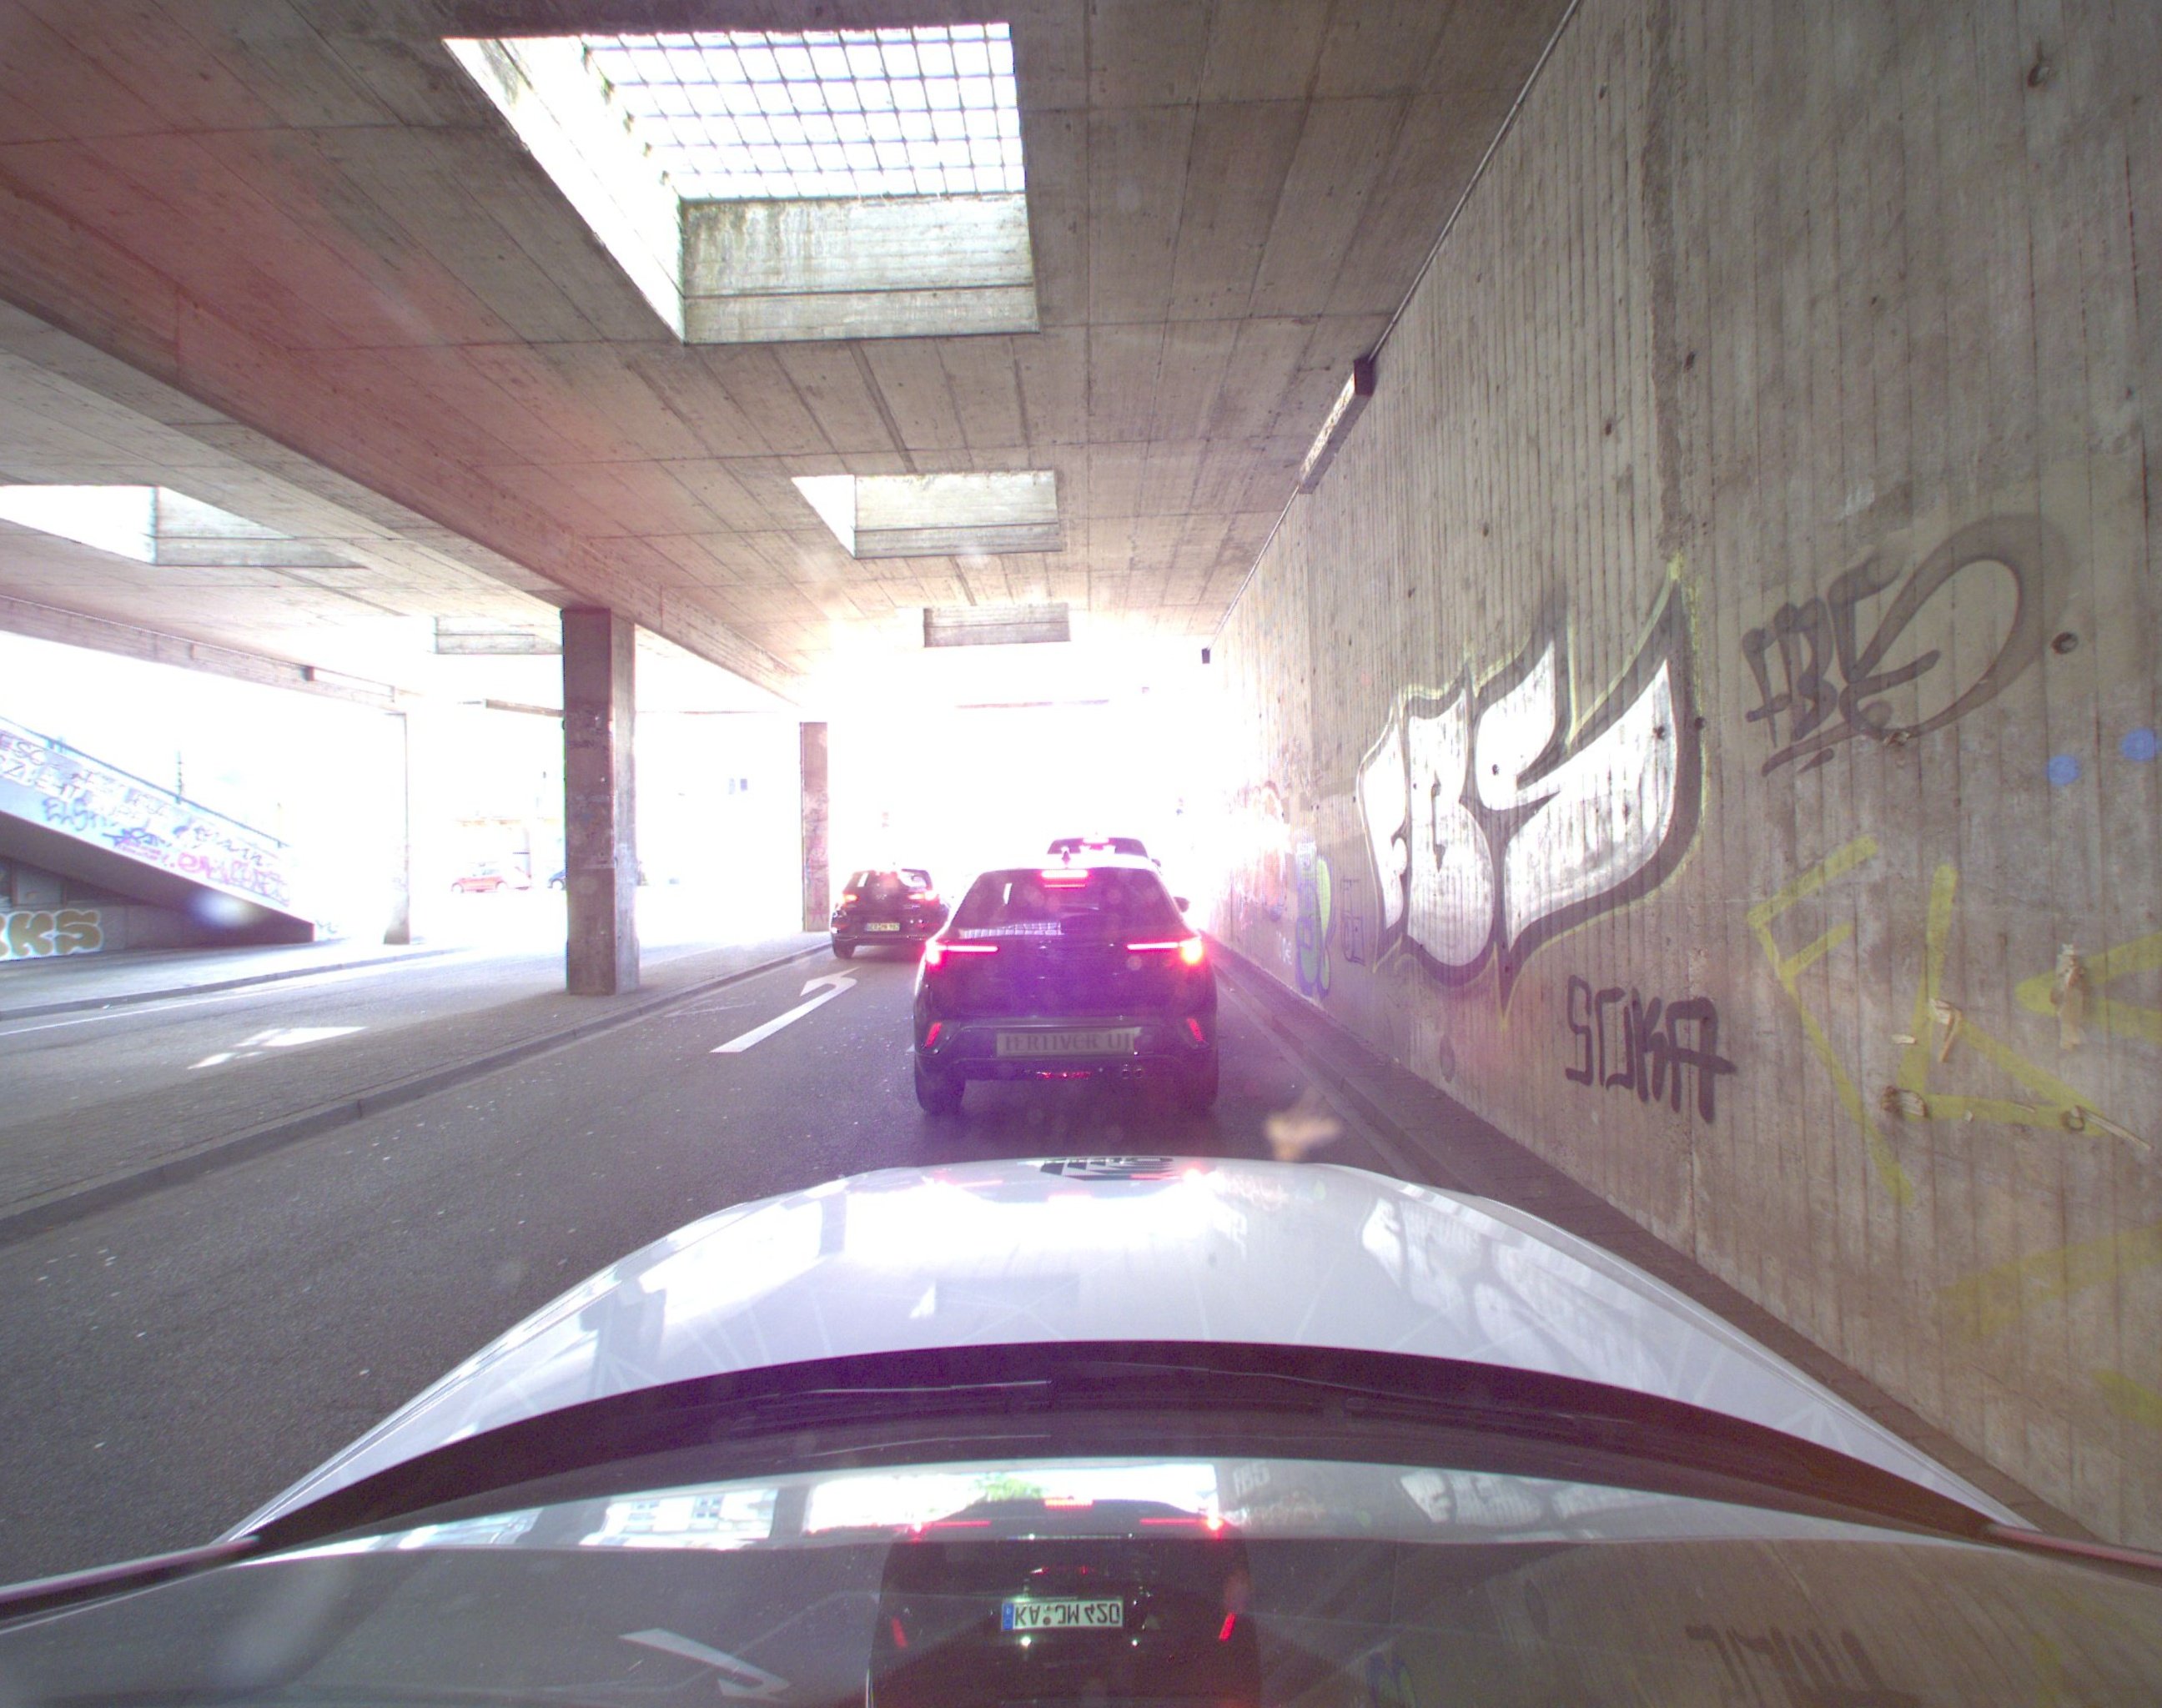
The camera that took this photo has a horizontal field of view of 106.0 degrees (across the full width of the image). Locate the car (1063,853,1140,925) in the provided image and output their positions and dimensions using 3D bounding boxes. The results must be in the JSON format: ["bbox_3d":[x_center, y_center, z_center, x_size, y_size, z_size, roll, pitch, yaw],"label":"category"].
[{"bbox_3d":[0.497,0.751,19.384,1.603,1.513,4.055,-1,0,2],"label":"car"}]

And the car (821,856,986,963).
[{"bbox_3d":[-2.745,0.792,13.486,1.755,1.480,3.846,-1,0,2],"label":"car"}]

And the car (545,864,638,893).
[{"bbox_3d":[-27.166,1.339,45.295,4.096,1.475,1.737,-1,-1,0],"label":"car"}]

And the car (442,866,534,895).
[{"bbox_3d":[-32.922,1.468,45.273,3.748,1.475,1.749,-1,-1,0],"label":"car"}]

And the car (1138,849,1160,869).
[{"bbox_3d":[5.763,0.410,68.357,1.745,1.667,3.950,0,-1,6],"label":"car"}]

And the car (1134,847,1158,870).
[{"bbox_3d":[4.975,0.366,62.253,1.745,1.667,3.950,0,-1,6],"label":"car"}]

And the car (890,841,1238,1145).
[{"bbox_3d":[-0.024,0.716,6.227,1.755,1.531,4.091,-1,0,2],"label":"car"}]

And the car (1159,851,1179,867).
[{"bbox_3d":[9.204,0.517,84.927,1.742,1.667,3.956,-1,-1,11],"label":"car"}]

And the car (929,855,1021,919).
[{"bbox_3d":[-2.655,0.789,21.214,1.755,1.480,3.846,-1,0,2],"label":"car"}]

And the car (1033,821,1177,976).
[{"bbox_3d":[0.361,0.557,12.166,1.755,1.883,4.148,-1,0,2],"label":"car"}]
